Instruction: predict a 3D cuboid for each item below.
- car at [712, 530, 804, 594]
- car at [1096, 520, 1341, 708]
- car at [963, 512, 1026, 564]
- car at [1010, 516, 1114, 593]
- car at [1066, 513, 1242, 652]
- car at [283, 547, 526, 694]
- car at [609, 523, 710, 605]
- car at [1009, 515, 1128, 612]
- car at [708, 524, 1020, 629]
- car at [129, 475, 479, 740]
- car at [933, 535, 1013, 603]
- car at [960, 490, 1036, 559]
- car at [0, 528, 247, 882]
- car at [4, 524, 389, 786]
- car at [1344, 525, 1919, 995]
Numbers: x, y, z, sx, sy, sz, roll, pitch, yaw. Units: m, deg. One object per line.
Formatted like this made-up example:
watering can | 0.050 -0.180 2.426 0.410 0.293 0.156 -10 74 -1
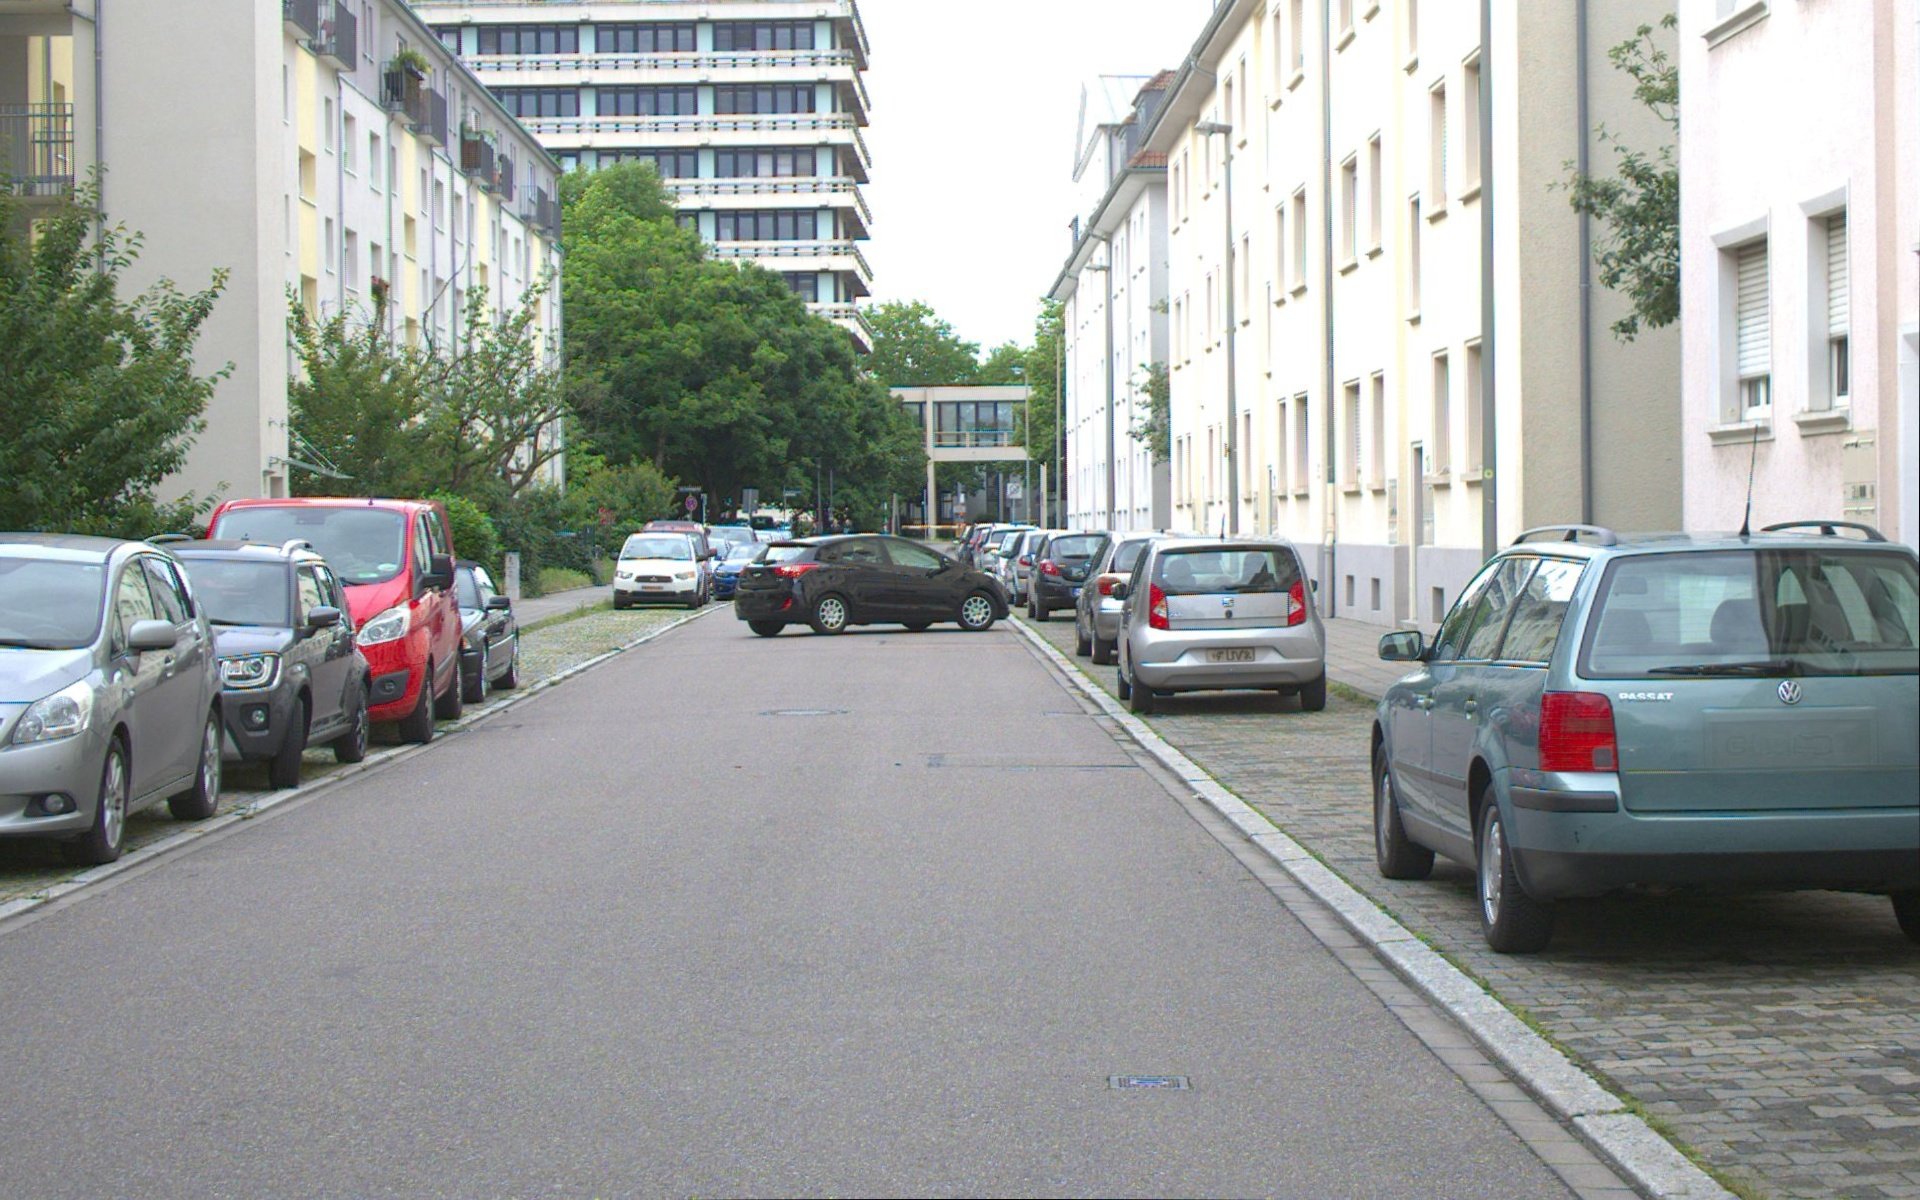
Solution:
car | -4.705 -0.913 80.462 1.845 1.446 4.501 0 1 0
car | 2.167 0.066 29.814 1.725 1.487 4.061 -1 1 -1
car | 1.012 -1.863 102.655 1.820 1.498 4.091 -1 1 0
car | 1.953 -0.909 67.024 1.848 1.445 3.833 -1 1 -1
car | 2.206 -0.242 39.982 1.725 1.512 4.061 -1 1 -1
car | -5.498 0.163 34.510 1.870 1.319 4.362 1 1 -2
car | -6.010 -0.740 69.110 1.720 1.564 3.871 2 1 -1
car | 1.749 -0.622 56.597 1.725 1.512 4.061 -1 1 -1
car | -1.370 -0.365 49.993 4.220 1.428 1.909 -2 1 -38
car | -5.301 0.003 28.447 2.151 1.947 4.922 2 1 -3
car | 0.273 -0.721 77.328 1.725 1.471 4.505 0 1 -1
car | 0.936 -1.903 85.968 1.820 1.636 4.091 -2 2 0
car | -5.058 0.424 18.049 1.834 1.564 4.862 2 1 -3
car | -5.040 0.295 23.206 1.720 1.564 4.054 2 1 -1
car | 2.615 0.464 13.114 1.725 1.464 4.265 -1 1 -1
